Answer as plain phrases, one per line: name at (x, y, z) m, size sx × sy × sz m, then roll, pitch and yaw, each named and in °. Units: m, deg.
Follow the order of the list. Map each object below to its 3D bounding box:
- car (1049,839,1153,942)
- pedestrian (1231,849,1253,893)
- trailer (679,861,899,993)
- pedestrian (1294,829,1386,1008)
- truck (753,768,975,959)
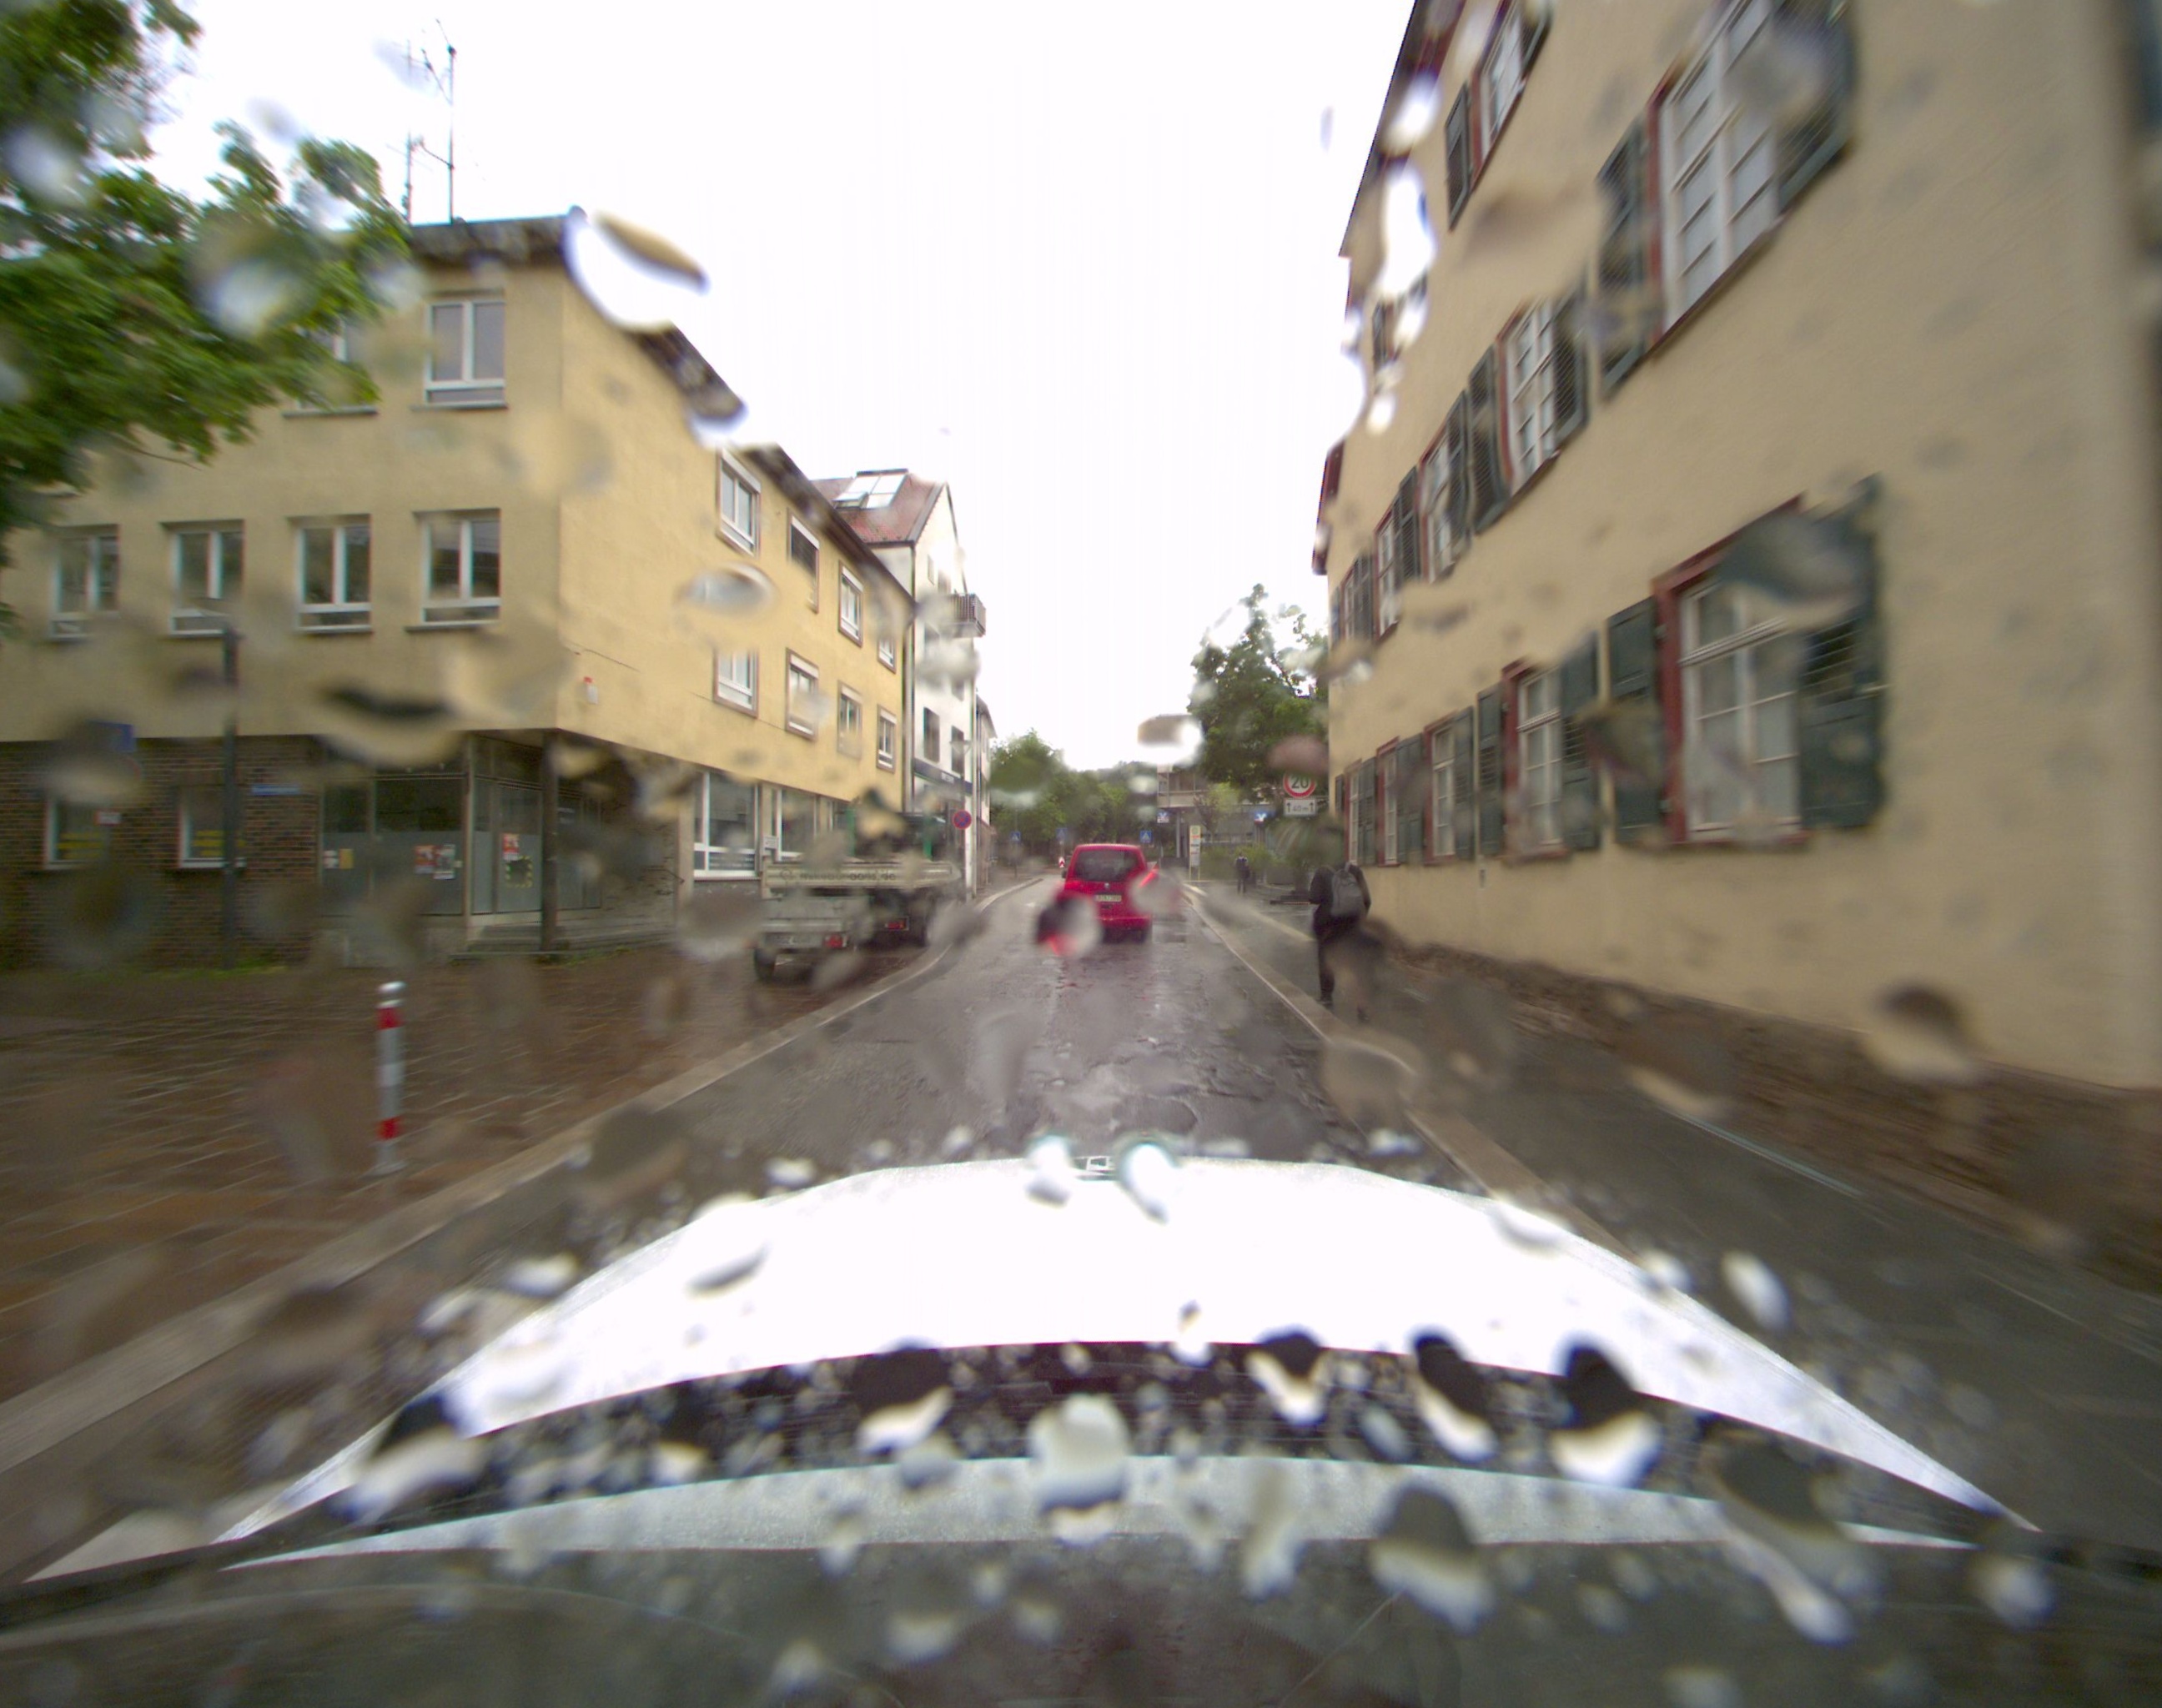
car at (0.376, 0.676, 16.809) m, size 1.856 × 1.830 × 4.184 m, roll -1°, pitch -1°, yaw 0°
pedestrian at (6.016, 0.633, 30.487) m, size 0.724 × 1.617 × 0.695 m, roll -1°, pitch -1°, yaw 6°
trailer at (-3.565, 0.820, 10.565) m, size 1.723 × 1.346 × 3.159 m, roll -1°, pitch 1°, yaw -1°
pedestrian at (2.583, 0.613, 8.195) m, size 0.710 × 1.693 × 0.869 m, roll -1°, pitch 0°, yaw 6°
truck at (-3.648, 0.106, 15.428) m, size 2.466 × 2.795 × 6.597 m, roll -1°, pitch 1°, yaw -1°
